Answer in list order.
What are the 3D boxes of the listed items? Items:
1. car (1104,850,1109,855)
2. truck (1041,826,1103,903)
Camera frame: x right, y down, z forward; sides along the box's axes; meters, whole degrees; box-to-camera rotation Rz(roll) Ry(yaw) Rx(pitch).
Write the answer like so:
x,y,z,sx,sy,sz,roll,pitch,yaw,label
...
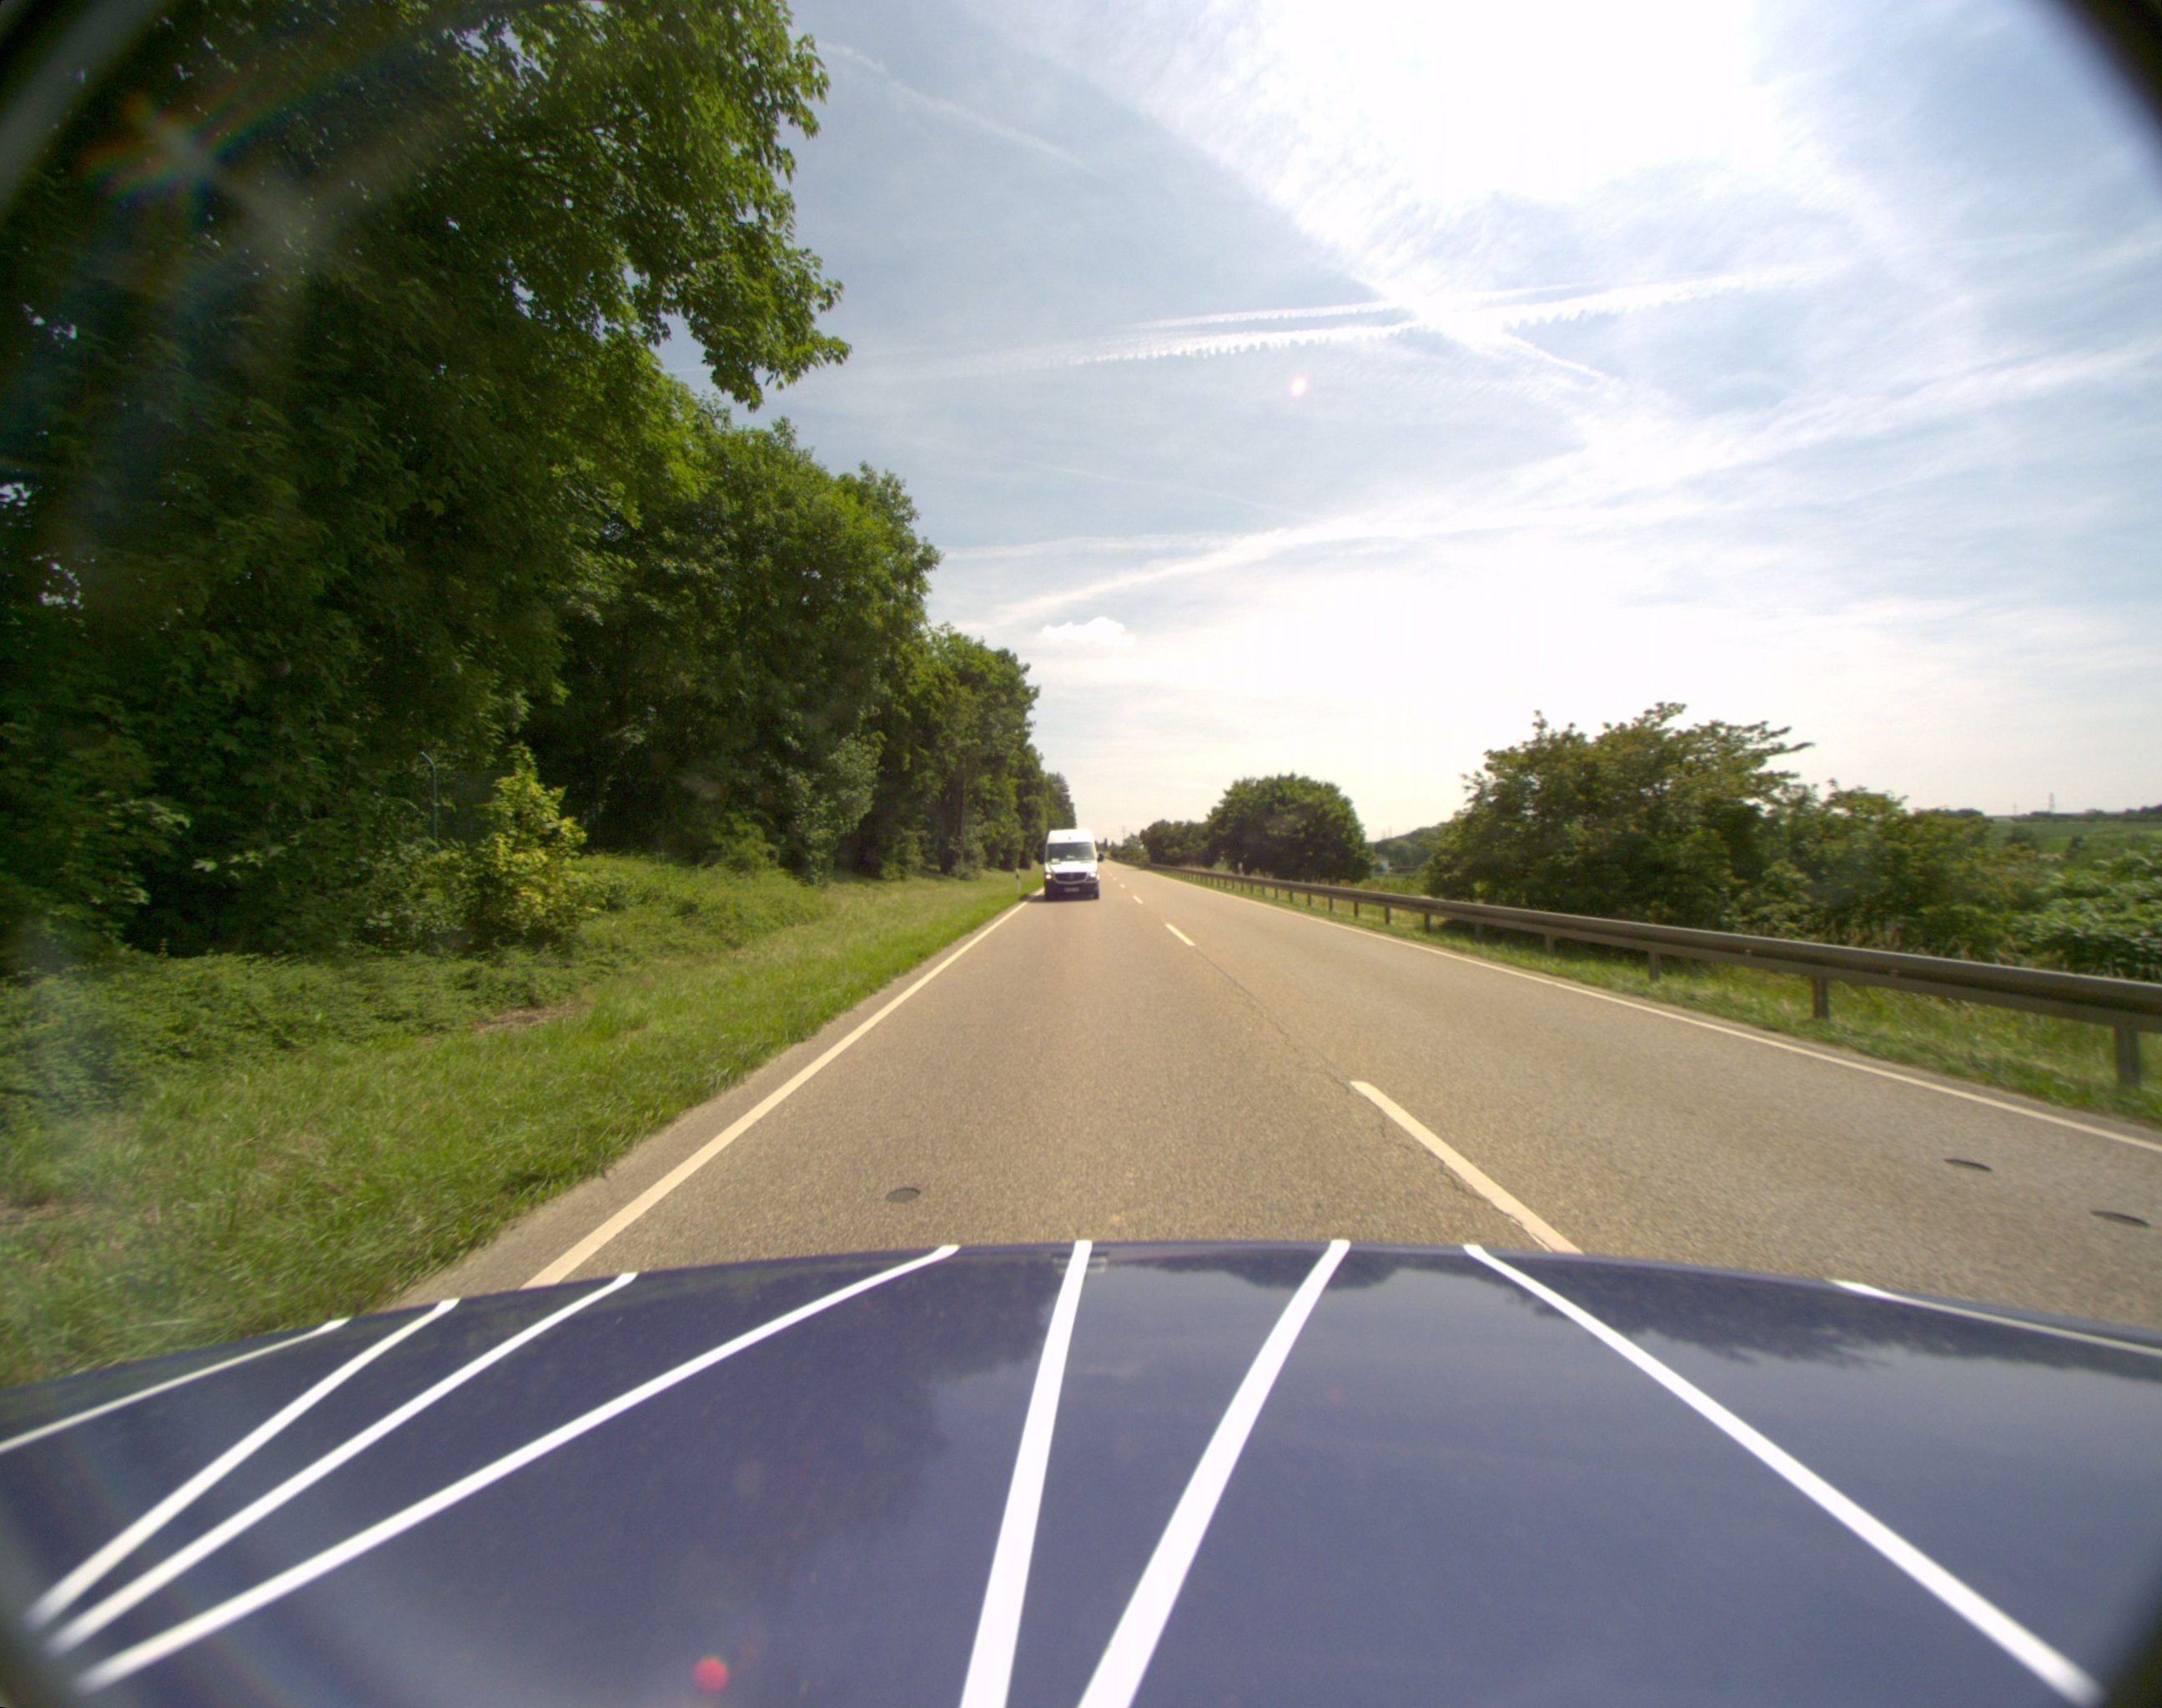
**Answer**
x,y,z,sx,sy,sz,roll,pitch,yaw,label
7.611,-0.398,227.747,1.561,1.454,3.550,1,0,2,car
-0.239,0.341,29.542,2.023,2.567,7.225,-2,0,1,truck
